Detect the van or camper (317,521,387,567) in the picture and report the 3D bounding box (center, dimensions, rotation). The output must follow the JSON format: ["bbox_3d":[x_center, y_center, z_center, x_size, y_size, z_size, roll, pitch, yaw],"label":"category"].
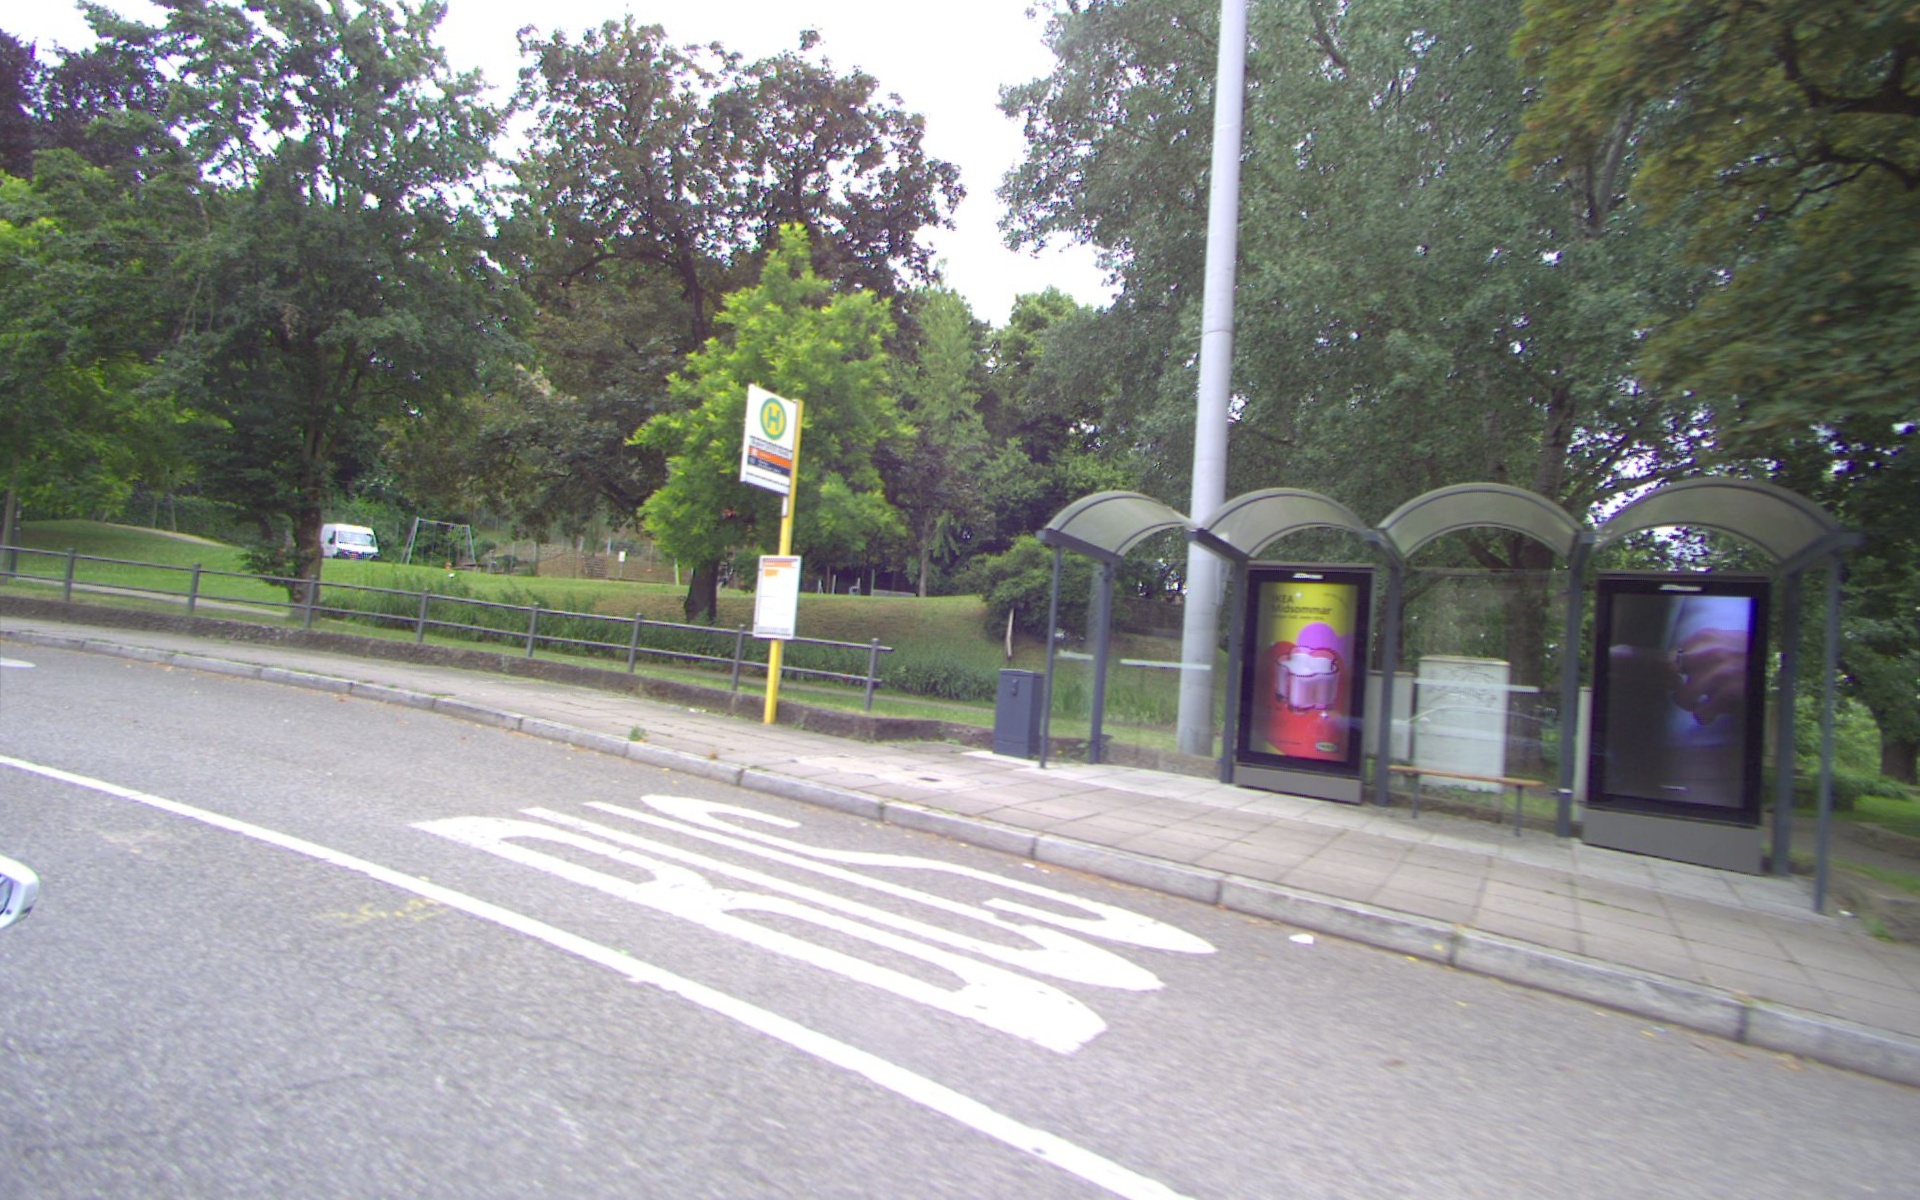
[{"bbox_3d":[-32.478,-3.023,53.644,2.294,2.038,5.382,8,-1,-39],"label":"van or camper"}]
